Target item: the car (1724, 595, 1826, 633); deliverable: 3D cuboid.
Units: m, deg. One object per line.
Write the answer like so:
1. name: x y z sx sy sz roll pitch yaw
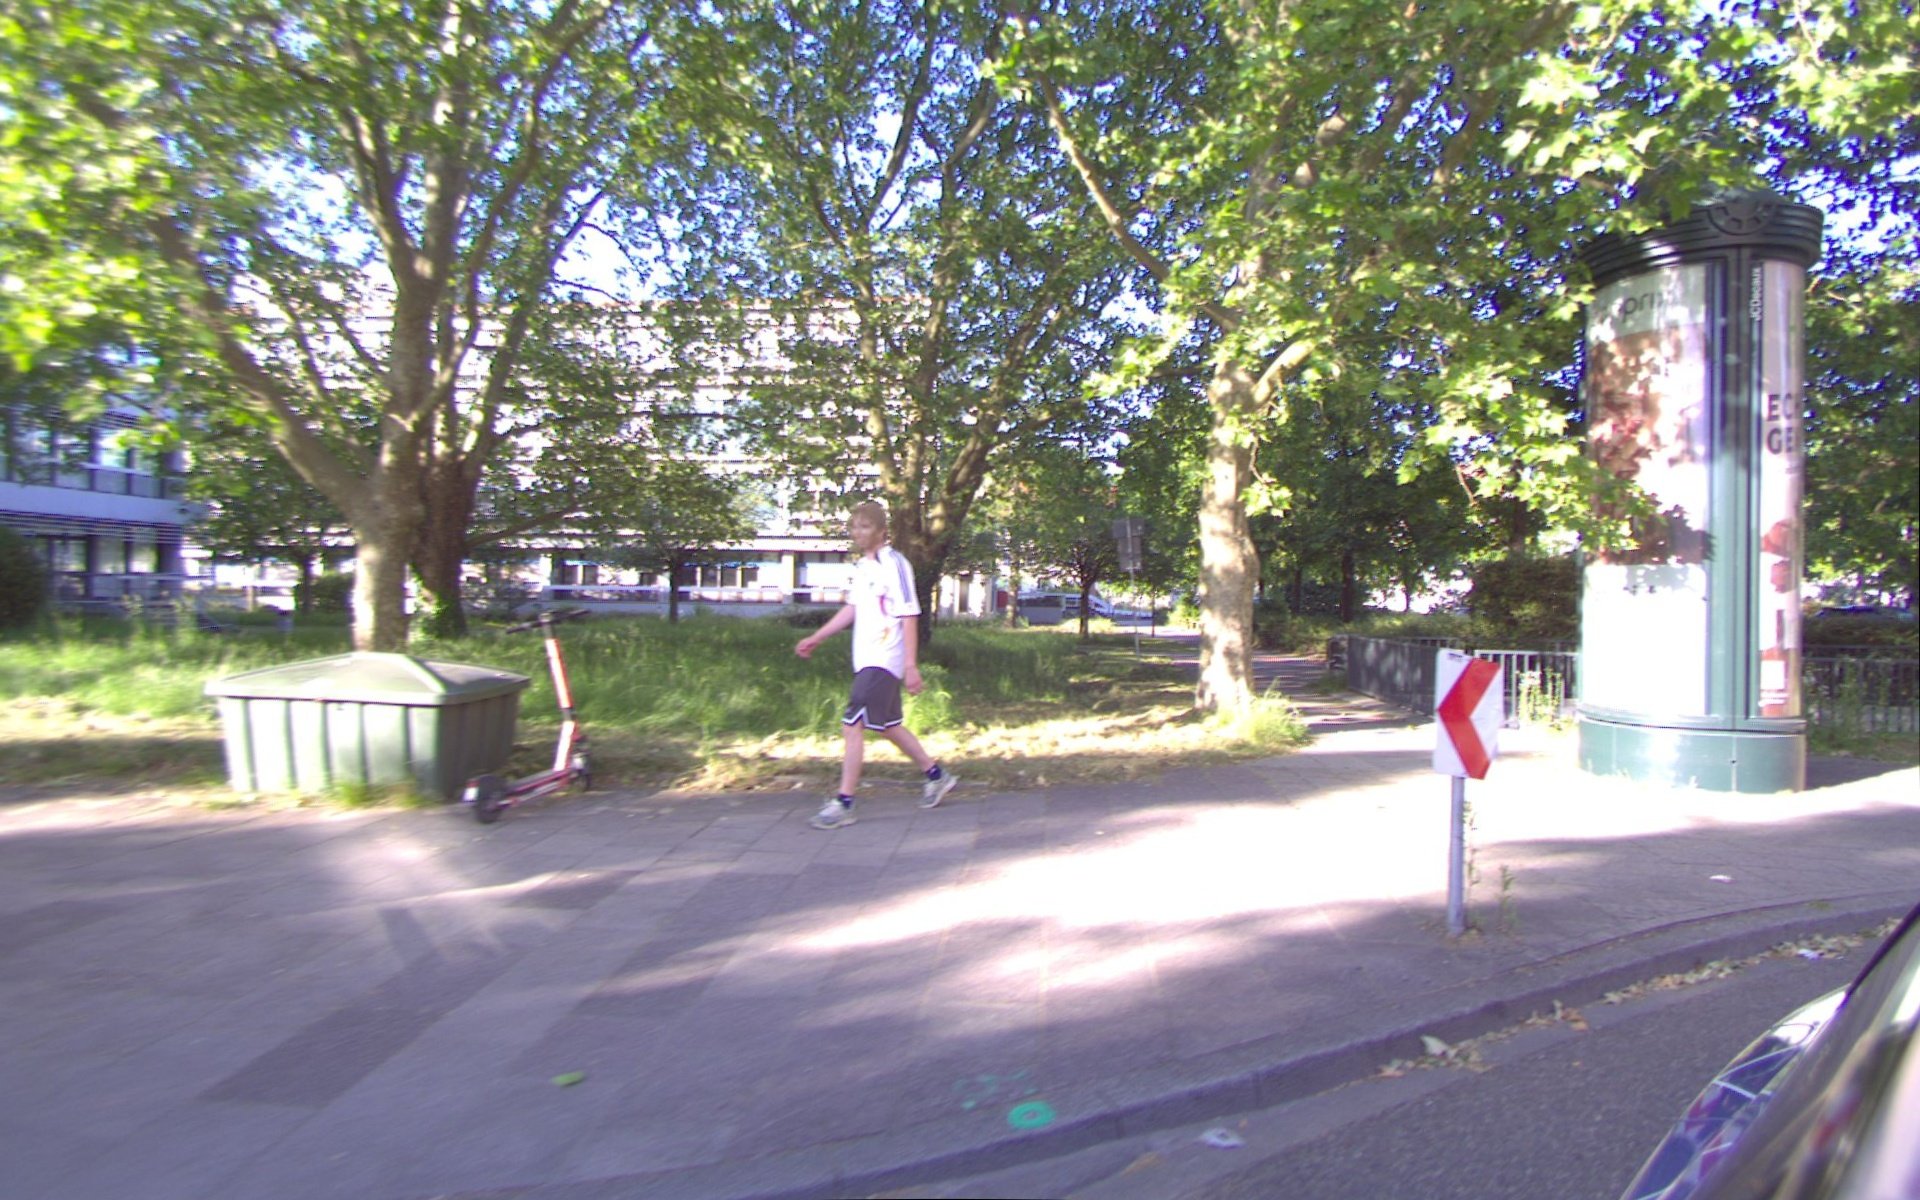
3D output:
1. car: 45.279 0.775 56.292 3.974 1.972 1.921 1 -1 5

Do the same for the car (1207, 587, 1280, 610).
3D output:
1. car: 19.641 -0.107 70.254 4.577 1.494 2.010 1 -1 7

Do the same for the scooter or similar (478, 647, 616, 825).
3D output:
1. scooter or similar: -2.557 0.806 6.362 0.411 0.925 1.151 0 2 -2

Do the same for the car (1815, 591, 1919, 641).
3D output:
1. car: 32.179 0.578 34.863 3.931 1.647 1.550 1 -1 7

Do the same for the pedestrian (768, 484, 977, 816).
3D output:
1. pedestrian: -0.547 0.282 6.104 1.110 1.836 0.749 1 -1 -17
